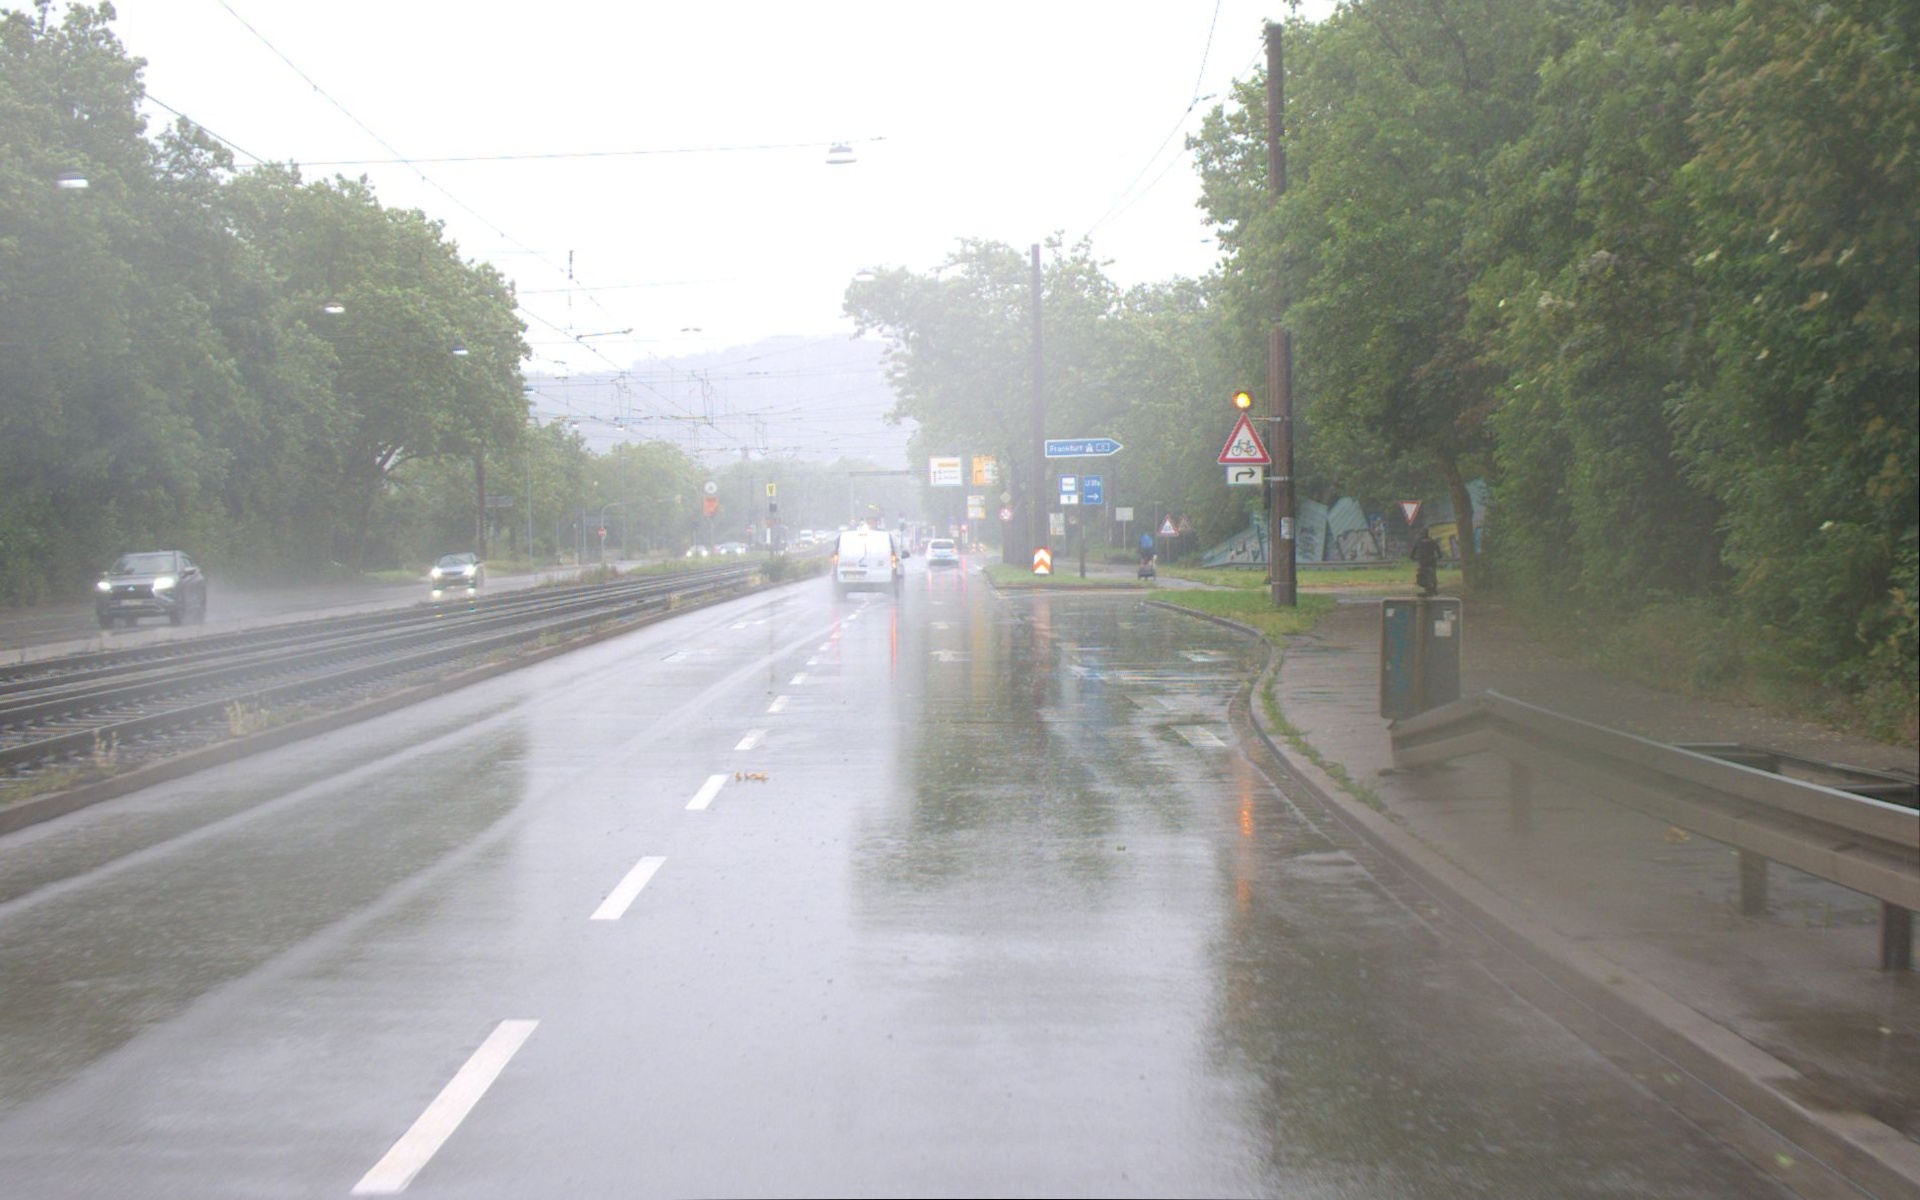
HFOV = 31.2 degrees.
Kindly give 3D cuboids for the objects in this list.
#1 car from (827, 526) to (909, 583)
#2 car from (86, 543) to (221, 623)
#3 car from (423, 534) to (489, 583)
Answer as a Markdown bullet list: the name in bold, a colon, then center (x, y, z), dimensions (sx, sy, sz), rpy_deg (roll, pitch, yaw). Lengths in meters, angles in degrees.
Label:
- **car**: center (-2.403, -1.199, 90.679), dimensions (2.077, 1.415, 4.000), rpy_deg (-2, 1, -1)
- **car**: center (-18.013, -0.410, 76.962), dimensions (1.993, 1.667, 4.873), rpy_deg (-1, 1, -2)
- **car**: center (-19.947, -1.660, 136.291), dimensions (1.993, 1.776, 4.000), rpy_deg (4, 1, -1)
